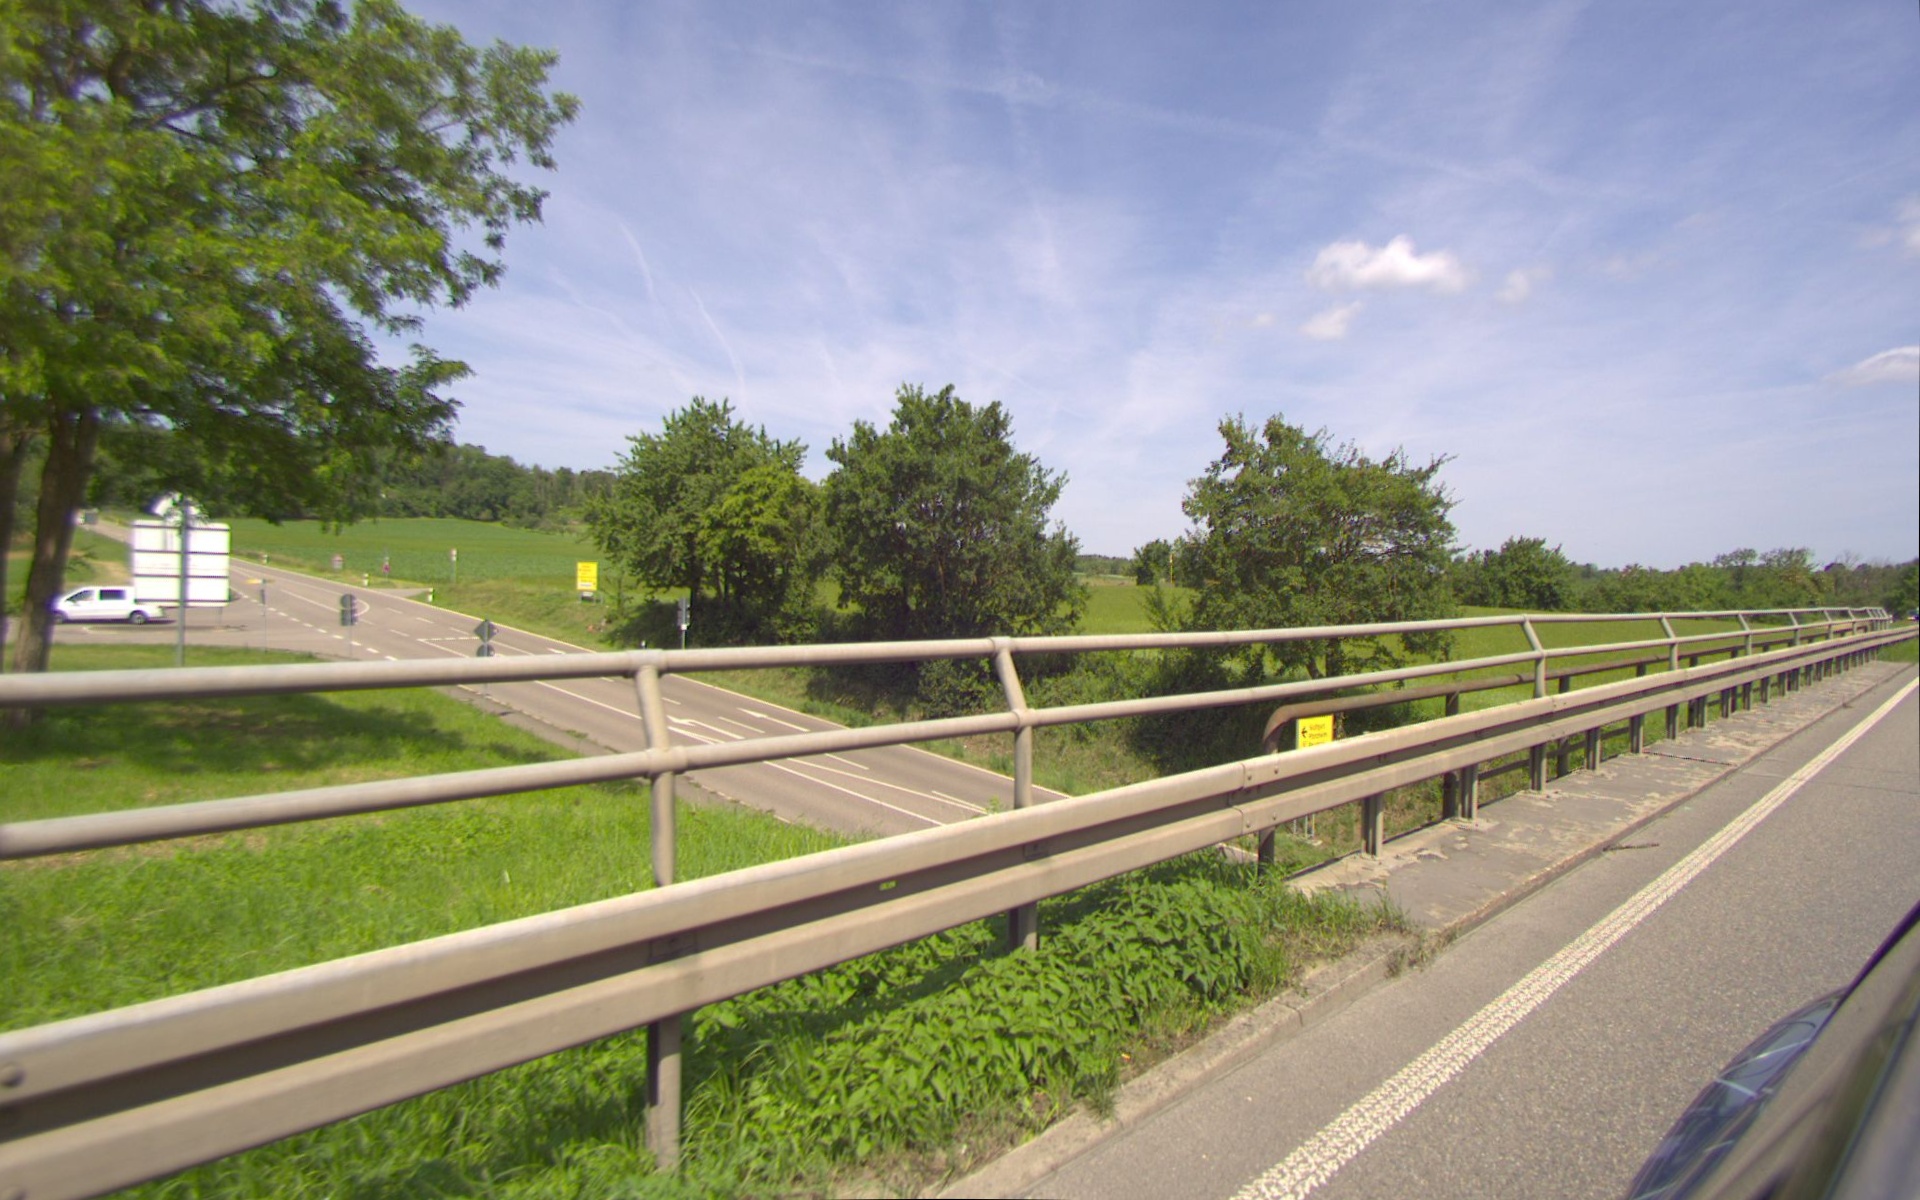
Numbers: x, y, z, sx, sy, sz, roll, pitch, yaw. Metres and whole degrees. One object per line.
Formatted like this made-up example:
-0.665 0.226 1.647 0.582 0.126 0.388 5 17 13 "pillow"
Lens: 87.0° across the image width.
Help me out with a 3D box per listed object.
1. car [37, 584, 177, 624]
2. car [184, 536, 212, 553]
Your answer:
-44.019 0.216 52.417 5.316 1.869 2.001 1 2 -34 "car"
-85.901 -6.253 114.017 3.988 1.568 1.784 7 4 42 "car"
